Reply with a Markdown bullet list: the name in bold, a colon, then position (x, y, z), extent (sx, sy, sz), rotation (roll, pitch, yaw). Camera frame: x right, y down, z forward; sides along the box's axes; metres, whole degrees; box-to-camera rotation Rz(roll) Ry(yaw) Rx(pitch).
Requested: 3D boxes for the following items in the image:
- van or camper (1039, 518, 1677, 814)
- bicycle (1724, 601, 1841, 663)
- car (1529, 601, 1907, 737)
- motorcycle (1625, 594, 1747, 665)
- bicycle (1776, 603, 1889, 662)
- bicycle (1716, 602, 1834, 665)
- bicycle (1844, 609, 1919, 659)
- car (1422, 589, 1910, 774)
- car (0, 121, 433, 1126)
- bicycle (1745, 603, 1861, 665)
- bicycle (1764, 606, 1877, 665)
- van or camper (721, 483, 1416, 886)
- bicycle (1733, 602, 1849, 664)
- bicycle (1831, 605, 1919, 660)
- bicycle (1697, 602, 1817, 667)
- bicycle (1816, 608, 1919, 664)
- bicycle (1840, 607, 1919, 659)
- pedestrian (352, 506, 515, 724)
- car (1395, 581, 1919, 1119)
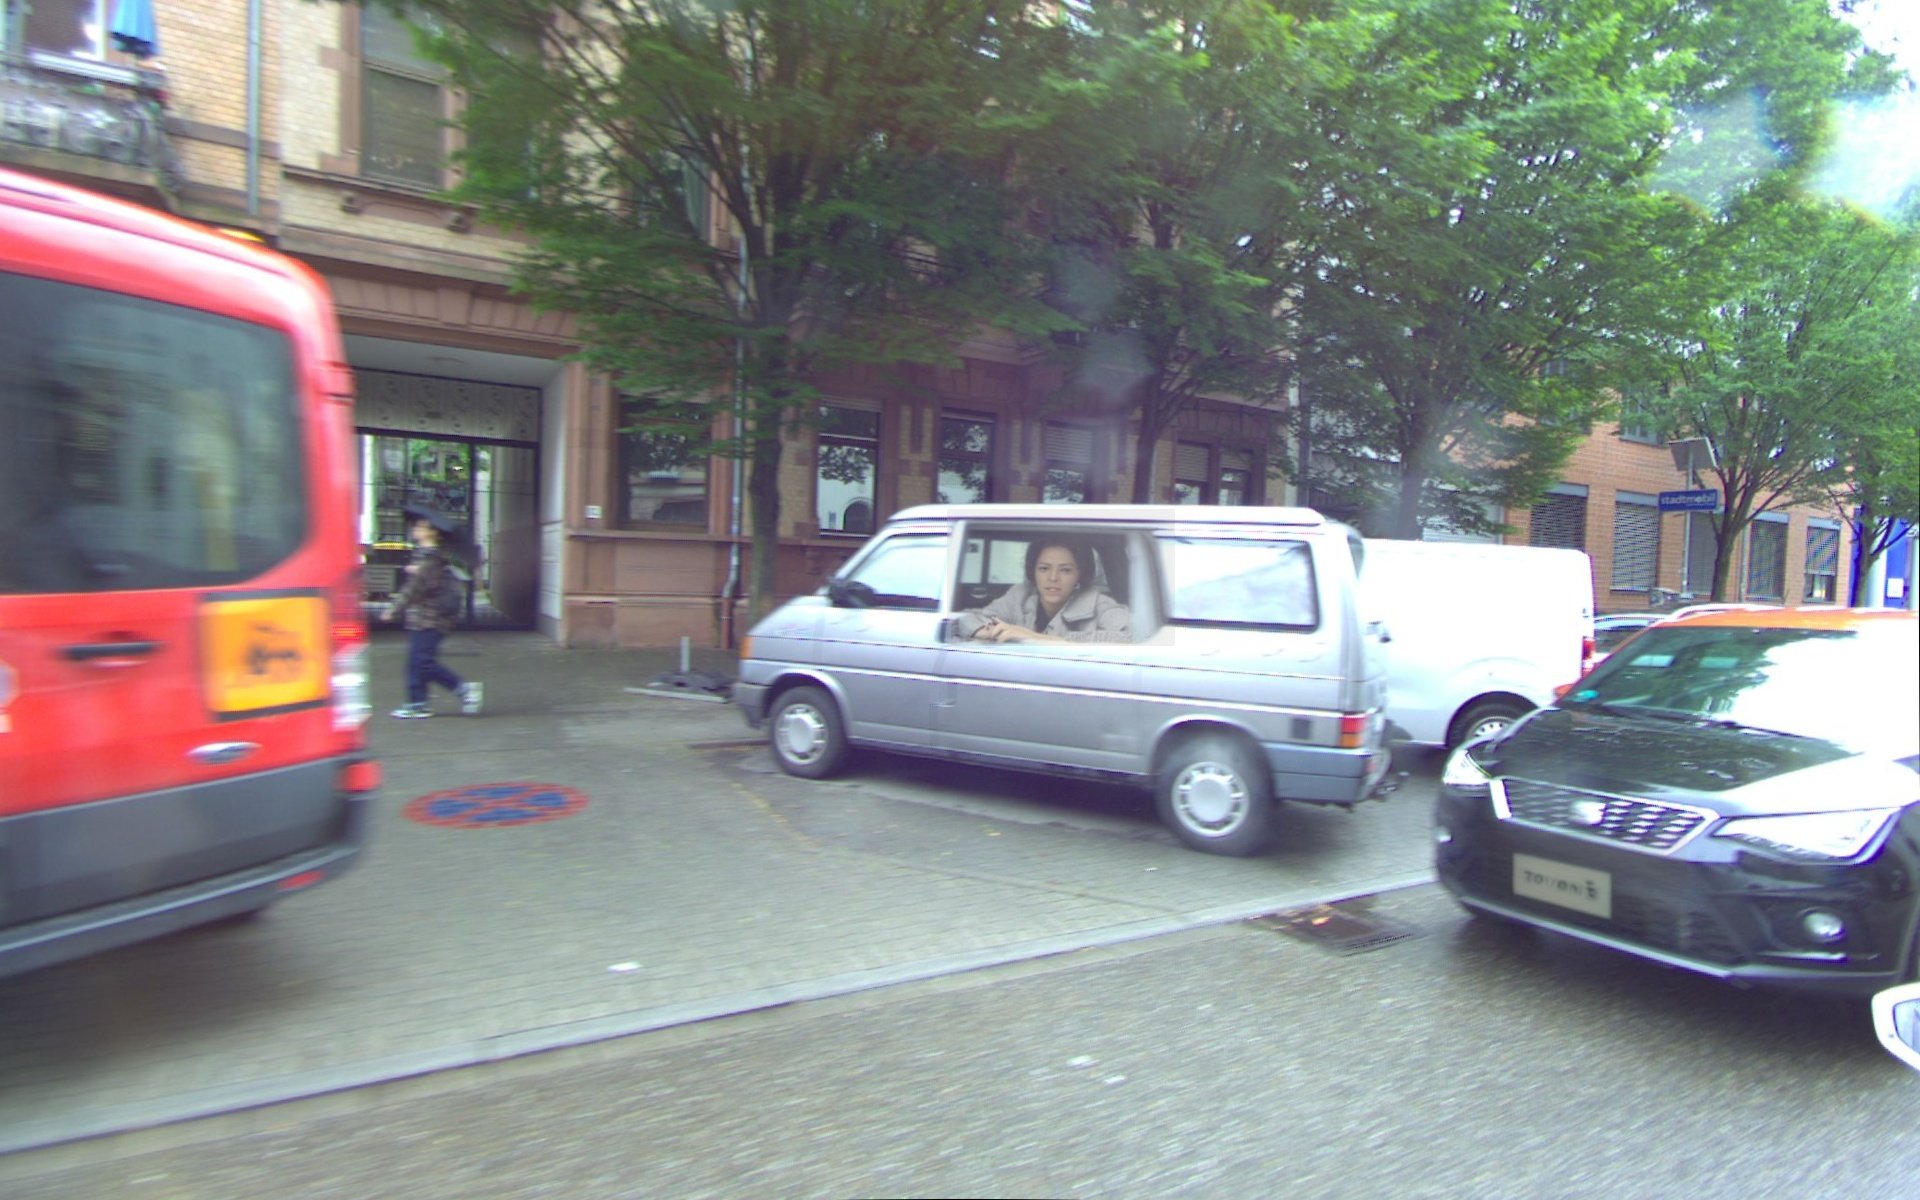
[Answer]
- **van or camper**: position (3.288, 0.377, 9.089), extent (4.605, 1.979, 2.336), rotation (4, 4, 19)
- **bicycle**: position (18.623, 0.703, 22.790), extent (0.547, 1.168, 1.885), rotation (1, 6, -31)
- **car**: position (9.303, 0.781, 12.659), extent (3.411, 1.455, 1.651), rotation (2, 1, 18)
- **motorcycle**: position (15.102, 0.592, 20.943), extent (0.648, 1.242, 1.875), rotation (1, 6, -26)
- **bicycle**: position (21.150, 0.765, 24.384), extent (0.547, 1.168, 1.885), rotation (1, 6, -31)
- **bicycle**: position (18.192, 0.725, 22.476), extent (0.547, 1.168, 1.885), rotation (1, 6, -31)
- **bicycle**: position (25.645, 0.935, 27.588), extent (0.547, 1.168, 1.885), rotation (1, 6, -31)
- **car**: position (7.258, 0.746, 10.859), extent (3.901, 1.466, 1.767), rotation (4, 3, 21)
- **car**: position (-4.734, -0.046, 4.085), extent (5.478, 2.575, 2.223), rotation (3, 2, 33)
- **bicycle**: position (19.507, 0.759, 23.293), extent (0.547, 1.168, 1.885), rotation (1, 6, -31)
- **bicycle**: position (20.601, 0.826, 24.100), extent (0.547, 1.168, 1.885), rotation (1, 6, -31)
- **van or camper**: position (0.660, 0.318, 6.995), extent (4.367, 2.002, 1.779), rotation (5, 3, 28)
- **bicycle**: position (19.078, 0.732, 23.105), extent (0.547, 1.168, 1.885), rotation (1, 6, -31)
- **bicycle**: position (23.914, 0.829, 25.999), extent (0.547, 1.168, 1.885), rotation (1, 6, -31)
- **bicycle**: position (17.477, 0.730, 22.086), extent (0.547, 1.168, 1.885), rotation (1, 6, -31)
- **bicycle**: position (23.075, 0.885, 25.492), extent (0.547, 1.168, 1.885), rotation (1, 6, -31)
- **bicycle**: position (24.497, 0.865, 26.397), extent (0.547, 1.168, 1.885), rotation (1, 6, -31)
- **pedestrian**: position (-4.372, 0.089, 8.322), extent (1.079, 1.652, 0.895), rotation (0, 5, -35)
- **car**: position (4.040, 0.775, 4.757), extent (3.959, 1.580, 1.660), rotation (1, 1, -32)
